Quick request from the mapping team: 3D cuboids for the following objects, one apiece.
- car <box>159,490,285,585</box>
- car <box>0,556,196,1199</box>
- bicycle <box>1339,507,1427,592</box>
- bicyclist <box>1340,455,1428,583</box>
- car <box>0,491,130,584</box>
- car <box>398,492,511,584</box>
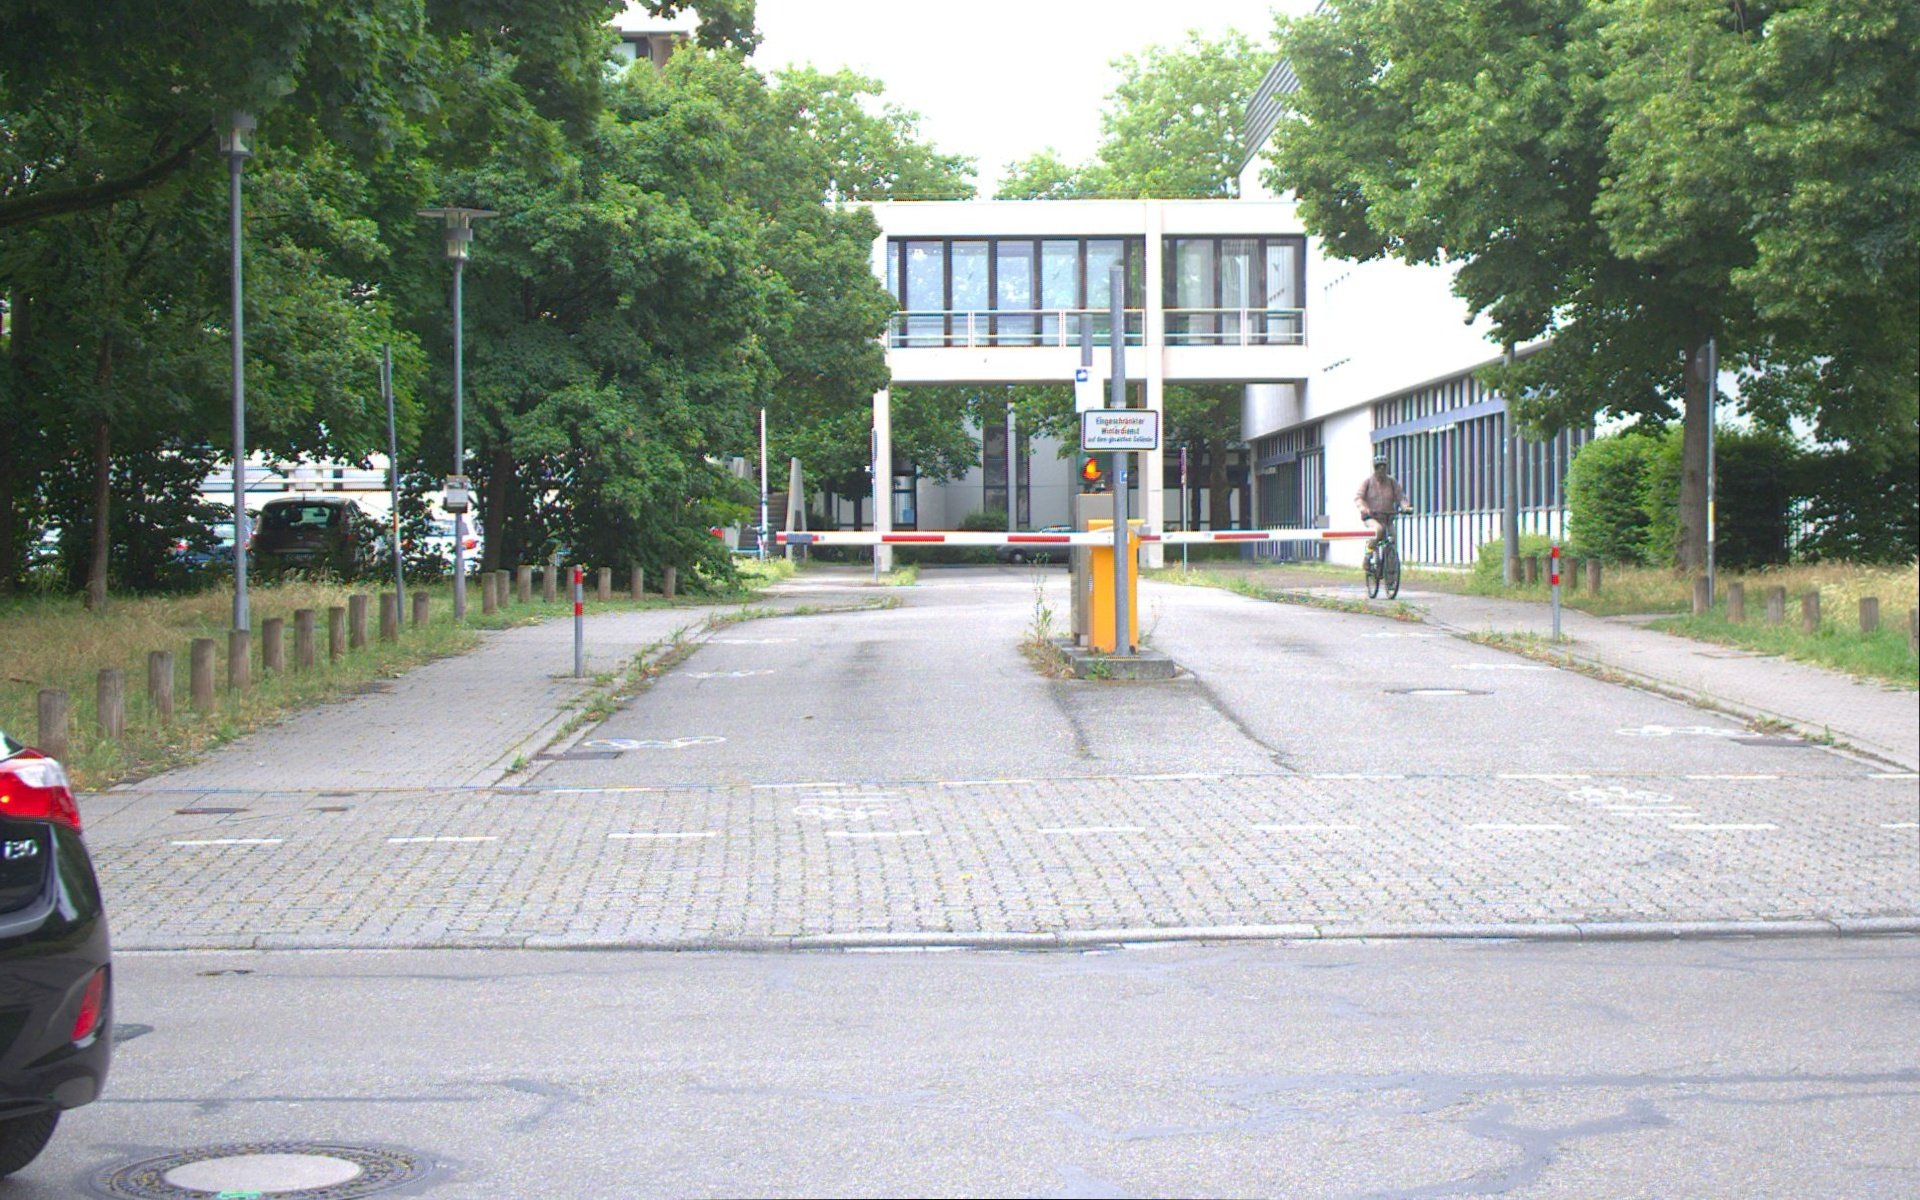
[{"bbox_3d":[-14.621,-1.215,68.296,1.993,1.788,4.001,-1,0,-5],"label":"car"},{"bbox_3d":[-3.713,0.629,7.800,3.823,1.457,1.848,1,1,38],"label":"car"},{"bbox_3d":[5.506,-0.672,44.881,0.866,1.071,2.142,0,2,0],"label":"bicycle"},{"bbox_3d":[5.518,-1.063,44.793,1.017,1.639,0.923,0,2,0],"label":"bicyclist"},{"bbox_3d":[-17.719,-1.209,67.913,1.993,1.722,4.001,-1,0,-5],"label":"car"},{"bbox_3d":[-10.028,-1.216,68.438,1.993,1.756,4.001,-1,1,-5],"label":"car"}]
